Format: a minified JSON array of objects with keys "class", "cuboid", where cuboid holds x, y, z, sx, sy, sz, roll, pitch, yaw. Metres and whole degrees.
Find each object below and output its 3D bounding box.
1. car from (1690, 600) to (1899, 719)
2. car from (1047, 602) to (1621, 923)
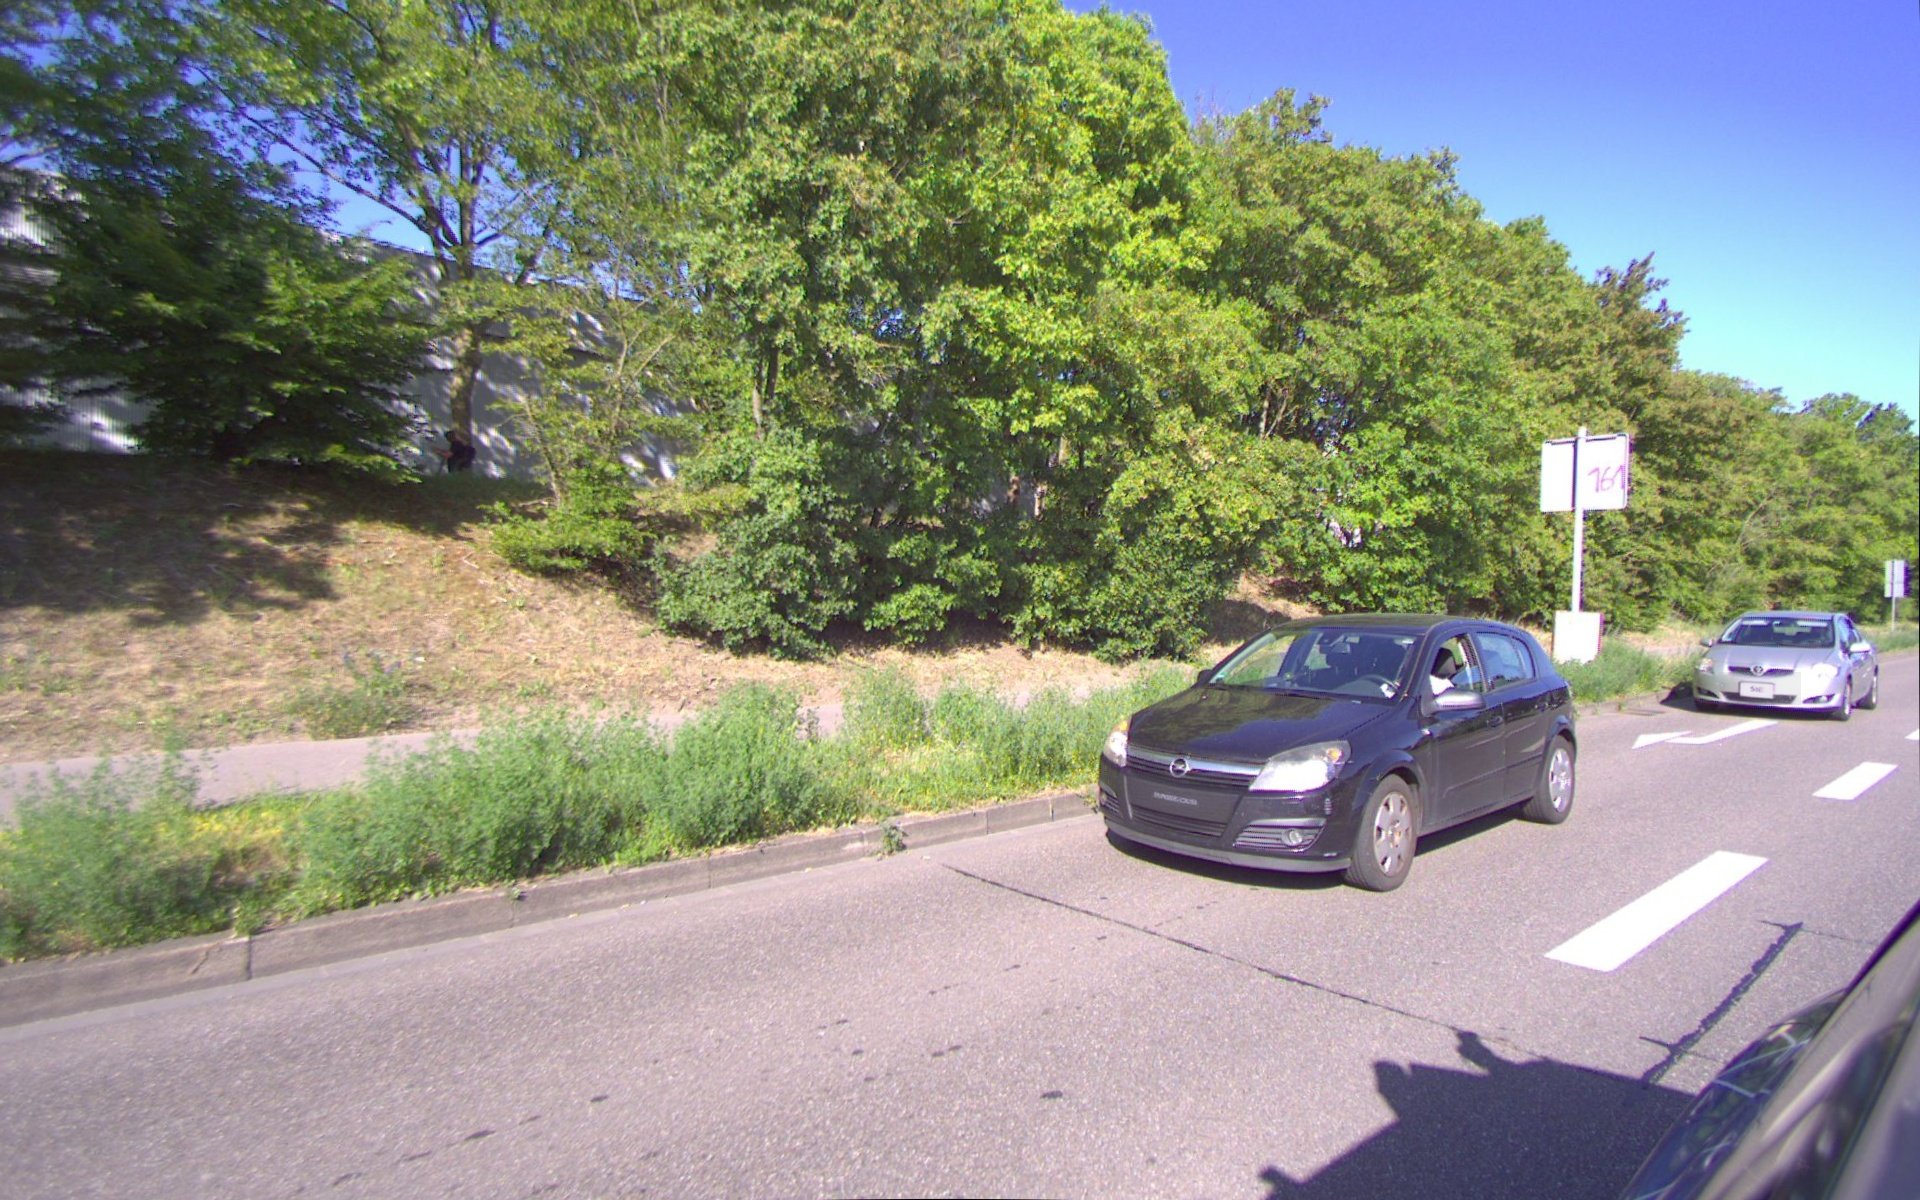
[{"class":"car","cuboid":[12.640,0.788,15.244,4.036,1.556,1.786,1,0,-41]},{"class":"car","cuboid":[2.698,0.752,6.733,4.295,1.460,1.737,0,0,-41]}]
